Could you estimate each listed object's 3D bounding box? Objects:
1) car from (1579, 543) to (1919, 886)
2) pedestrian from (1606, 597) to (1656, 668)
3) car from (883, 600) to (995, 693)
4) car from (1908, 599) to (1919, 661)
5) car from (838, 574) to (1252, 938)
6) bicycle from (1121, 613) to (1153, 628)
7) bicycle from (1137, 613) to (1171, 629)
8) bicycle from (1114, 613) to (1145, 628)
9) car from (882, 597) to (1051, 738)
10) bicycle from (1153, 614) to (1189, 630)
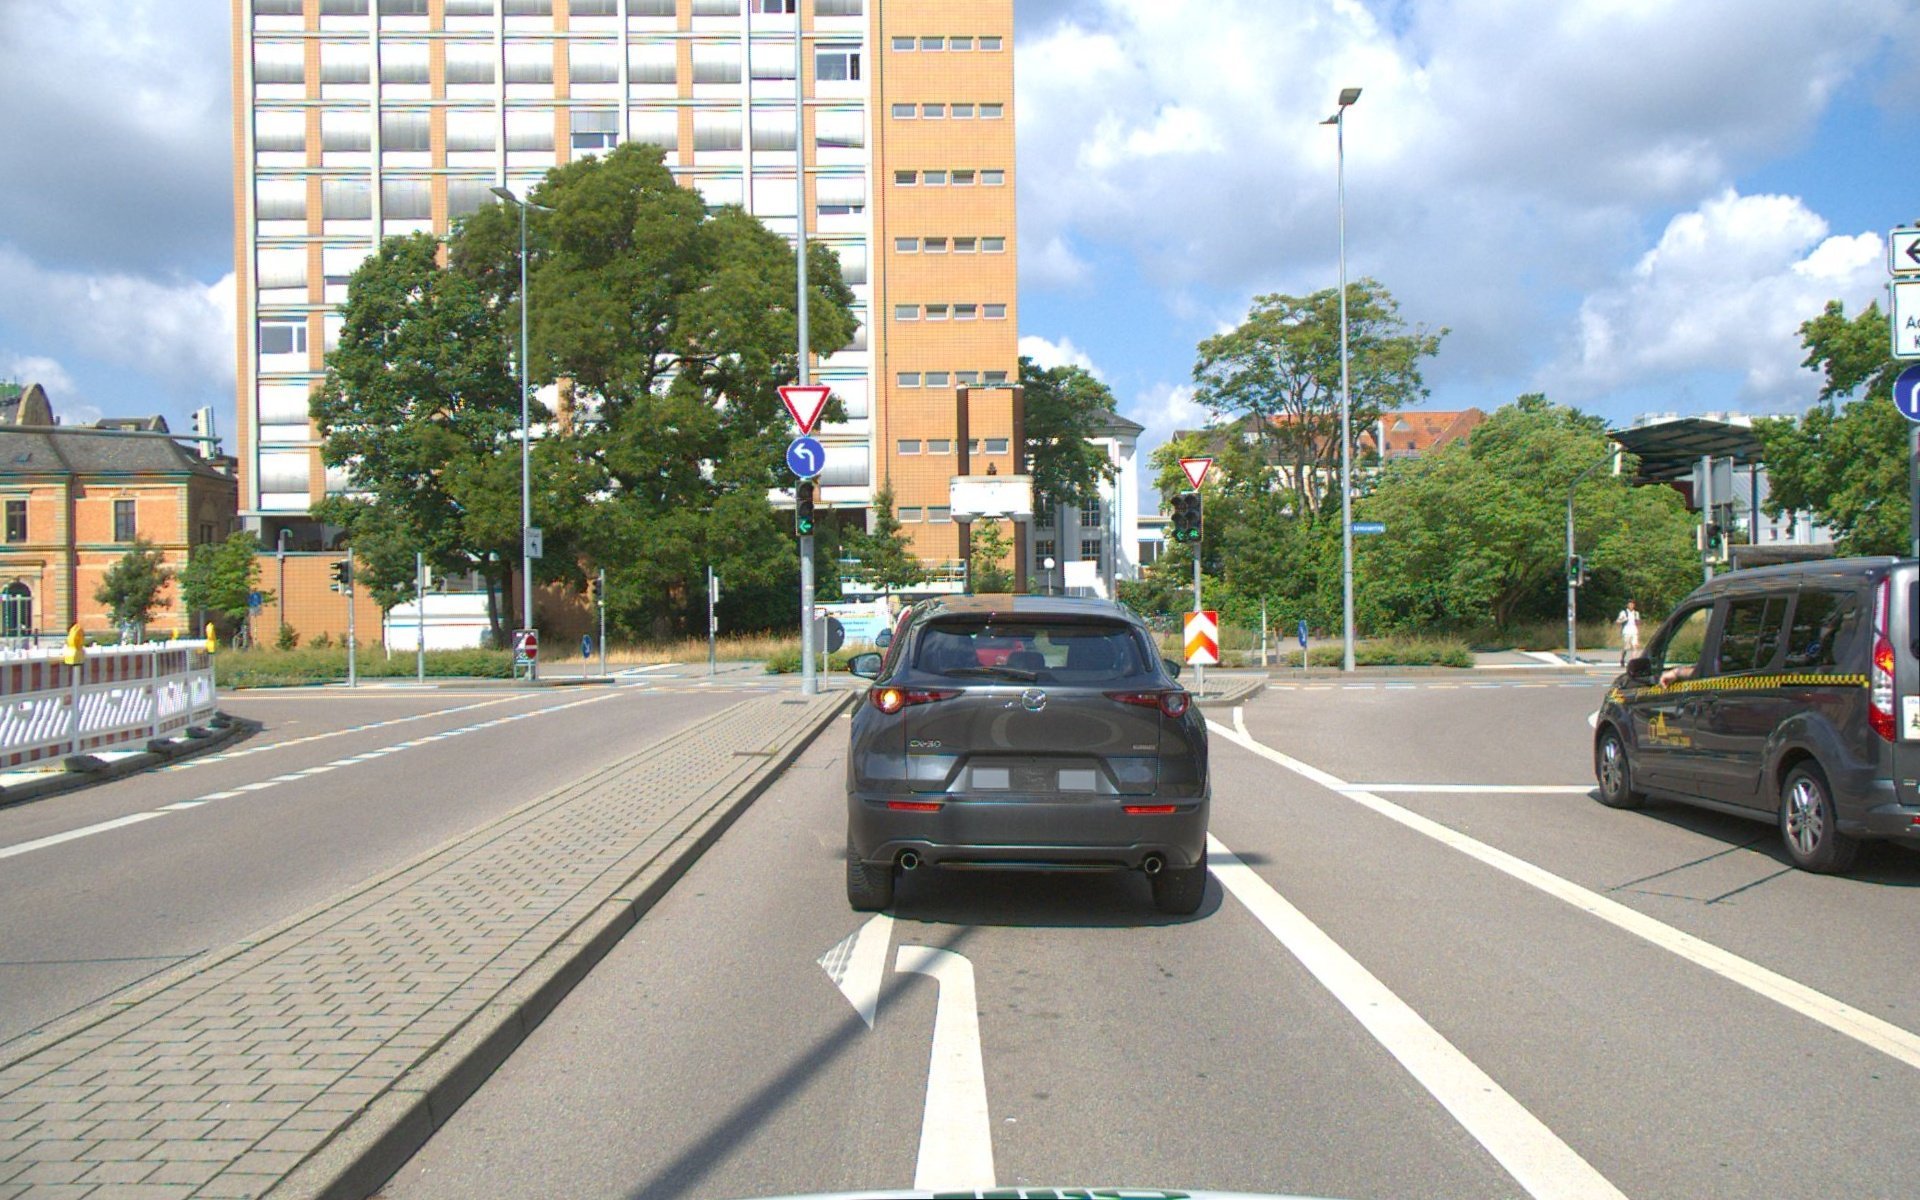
[{"bbox_3d":[5.875,0.611,11.077,1.810,1.816,4.672,0,0,1],"label":"car"},{"bbox_3d":[18.339,0.897,45.214,0.684,1.890,1.177,0,-2,-11],"label":"pedestrian"},{"bbox_3d":[-0.335,0.779,29.531,1.810,1.498,4.335,-1,0,0],"label":"car"},{"bbox_3d":[25.139,0.641,38.688,4.664,1.467,2.063,-1,-3,4],"label":"car"},{"bbox_3d":[0.339,0.686,9.298,1.769,1.534,4.204,2,0,-1],"label":"car"},{"bbox_3d":[11.515,1.345,107.649,2.013,0.953,0.804,-1,-1,-2],"label":"bicycle"},{"bbox_3d":[12.064,1.324,102.910,2.013,0.953,0.804,-1,-1,-2],"label":"bicycle"},{"bbox_3d":[11.548,1.375,112.508,2.013,0.953,0.804,-1,-1,-2],"label":"bicycle"},{"bbox_3d":[0.138,0.754,19.554,1.778,1.465,4.068,1,-1,2],"label":"car"},{"bbox_3d":[12.526,1.304,98.235,2.013,0.953,0.804,-1,-1,-2],"label":"bicycle"}]
